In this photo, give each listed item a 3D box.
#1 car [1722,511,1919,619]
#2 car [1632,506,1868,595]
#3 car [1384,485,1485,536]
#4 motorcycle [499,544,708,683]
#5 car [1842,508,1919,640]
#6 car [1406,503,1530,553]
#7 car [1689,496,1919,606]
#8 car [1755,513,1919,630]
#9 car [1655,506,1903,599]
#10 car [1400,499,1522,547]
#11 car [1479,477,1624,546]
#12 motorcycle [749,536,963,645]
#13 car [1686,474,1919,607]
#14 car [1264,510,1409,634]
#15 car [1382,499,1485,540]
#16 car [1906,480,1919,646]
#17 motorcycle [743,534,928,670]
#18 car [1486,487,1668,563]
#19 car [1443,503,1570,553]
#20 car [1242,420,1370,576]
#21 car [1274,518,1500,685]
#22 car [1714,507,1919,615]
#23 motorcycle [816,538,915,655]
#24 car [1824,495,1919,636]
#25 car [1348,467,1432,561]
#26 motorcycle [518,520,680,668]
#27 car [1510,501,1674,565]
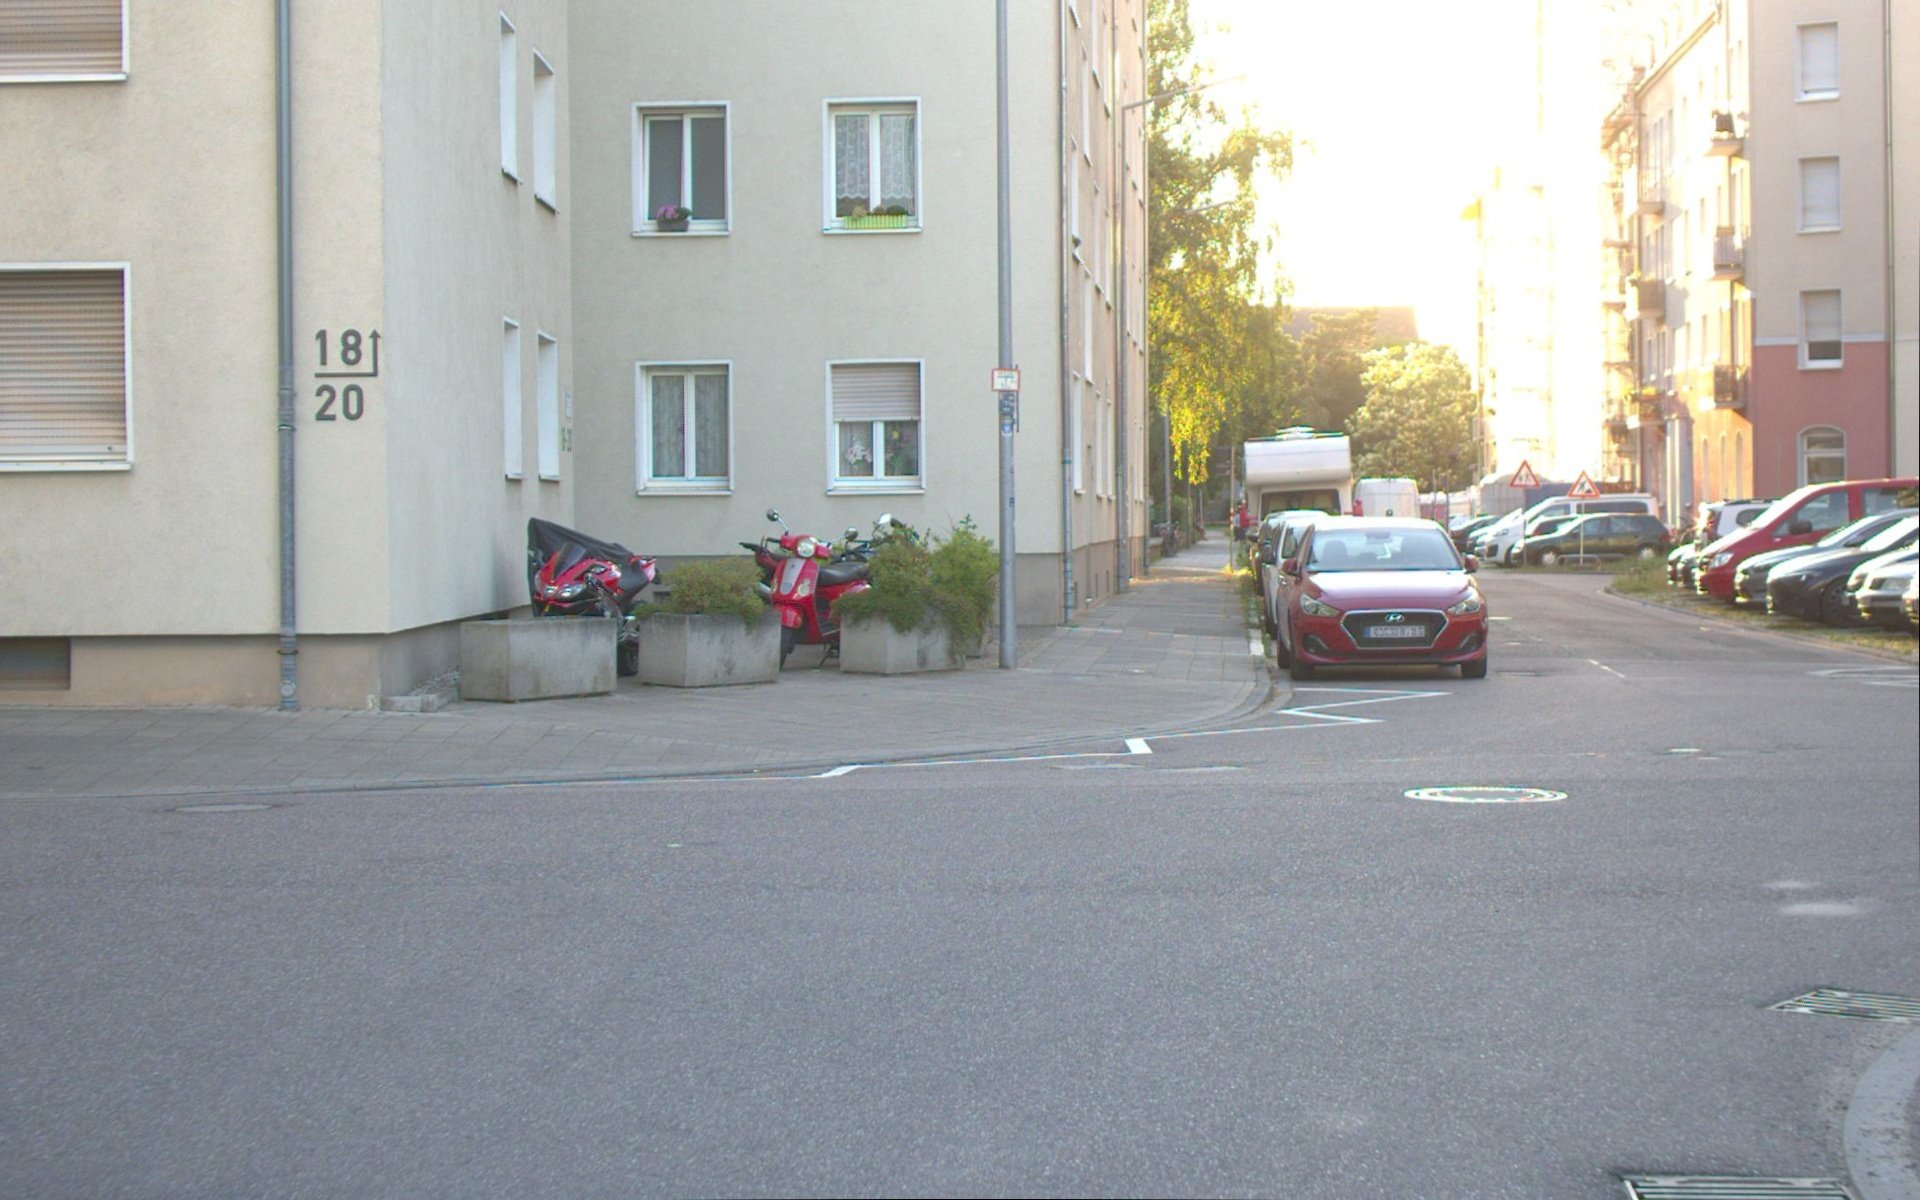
[{"bbox_3d":[12.760,-0.515,48.023,3.875,1.411,1.636,-2,1,3],"label":"car"},{"bbox_3d":[13.884,-0.873,60.559,3.812,1.423,1.634,-2,1,4],"label":"car"},{"bbox_3d":[23.684,-4.451,171.746,4.814,2.399,1.739,-2,1,5],"label":"car"},{"bbox_3d":[-2.904,0.091,28.229,0.724,1.075,2.078,0,2,26],"label":"motorcycle"},{"bbox_3d":[12.555,-0.340,40.477,3.956,1.517,1.706,-1,1,5],"label":"car"},{"bbox_3d":[17.038,-2.423,115.427,3.987,1.525,1.659,-2,1,5],"label":"car"},{"bbox_3d":[14.143,-0.811,55.638,4.324,1.632,1.818,-2,1,4],"label":"car"},{"bbox_3d":[12.707,-0.419,44.910,4.309,1.444,1.655,-2,1,5],"label":"car"},{"bbox_3d":[13.796,-0.808,58.043,3.812,1.423,1.634,-2,1,4],"label":"car"},{"bbox_3d":[17.079,-2.635,117.394,3.987,1.525,1.659,-2,1,5],"label":"car"},{"bbox_3d":[17.527,-2.619,102.010,3.987,2.007,2.000,0,1,1],"label":"car"},{"bbox_3d":[-1.063,-0.105,35.148,2.125,1.101,0.560,0,1,17],"label":"motorcycle"},{"bbox_3d":[13.704,-0.938,52.748,4.723,1.903,2.059,-2,1,4],"label":"car"},{"bbox_3d":[4.760,-0.384,43.825,1.616,1.468,3.505,-2,1,3],"label":"car"},{"bbox_3d":[18.999,-3.230,138.020,3.987,1.525,1.659,-2,1,5],"label":"car"},{"bbox_3d":[12.881,-0.419,38.285,4.280,1.854,1.741,0,1,5],"label":"car"},{"bbox_3d":[-1.090,-0.006,30.646,0.690,1.156,2.031,1,2,29],"label":"motorcycle"},{"bbox_3d":[17.191,-2.097,95.996,4.814,1.961,1.739,-2,1,5],"label":"car"},{"bbox_3d":[17.921,-2.374,112.851,3.987,1.525,1.659,-2,1,5],"label":"car"},{"bbox_3d":[7.768,-2.288,77.539,2.620,3.257,7.695,-2,1,5],"label":"car"},{"bbox_3d":[3.957,-0.035,32.410,1.845,1.468,4.078,0,1,3],"label":"car"},{"bbox_3d":[13.248,-0.595,50.206,4.145,1.466,1.636,-2,1,4],"label":"car"},{"bbox_3d":[-0.889,-0.052,32.873,0.682,1.075,2.034,0,1,6],"label":"motorcycle"},{"bbox_3d":[12.820,-0.485,42.722,3.791,1.689,1.655,-2,1,5],"label":"car"},{"bbox_3d":[13.076,-2.617,104.766,2.129,2.708,4.833,-2,1,3],"label":"car"},{"bbox_3d":[-3.186,-0.077,30.534,0.724,1.260,2.079,0,1,15],"label":"motorcycle"},{"bbox_3d":[16.337,-1.735,88.946,3.987,1.525,1.659,-2,1,5],"label":"car"}]
